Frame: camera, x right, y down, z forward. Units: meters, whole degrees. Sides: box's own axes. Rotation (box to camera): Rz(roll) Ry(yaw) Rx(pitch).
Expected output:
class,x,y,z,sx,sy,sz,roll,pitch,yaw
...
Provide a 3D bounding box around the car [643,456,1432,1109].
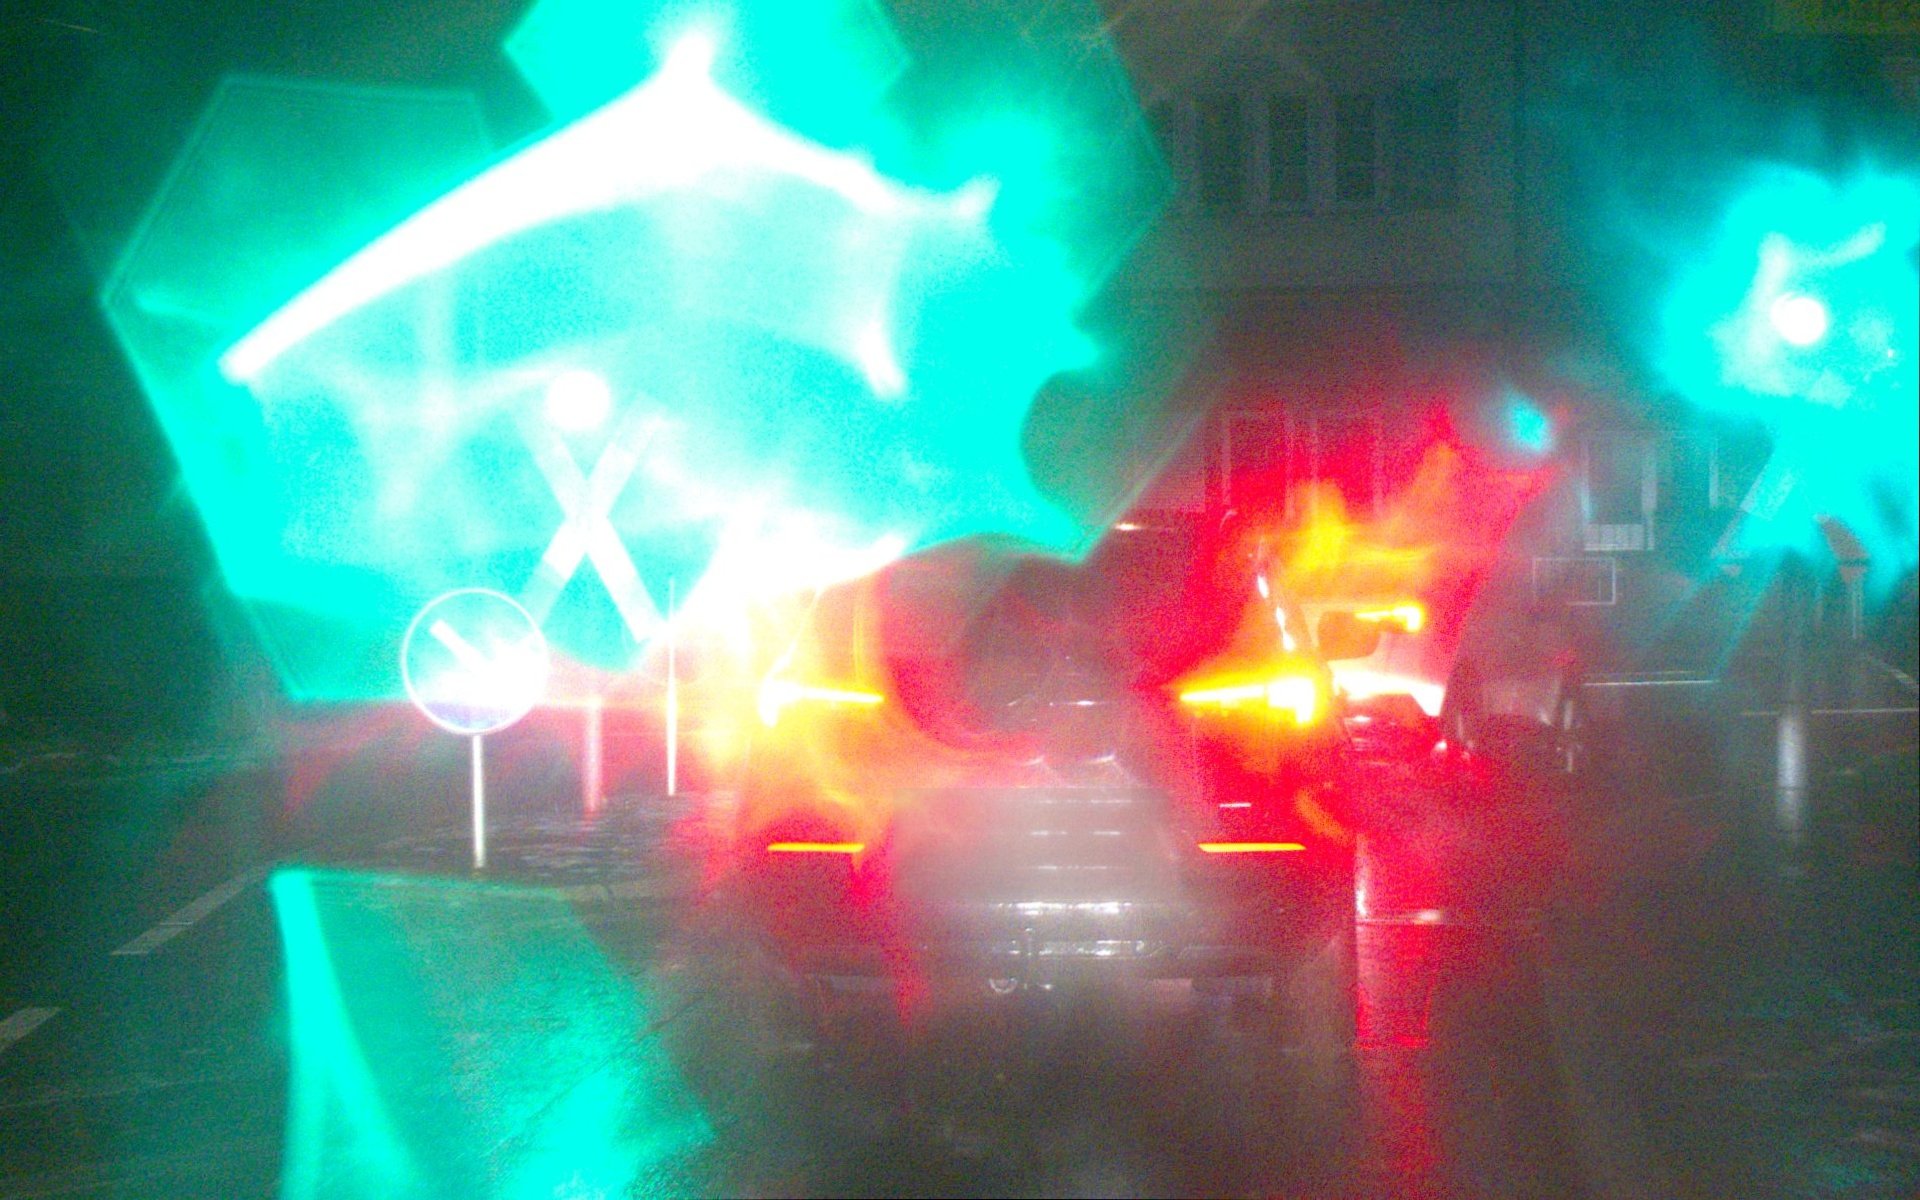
class,x,y,z,sx,sy,sz,roll,pitch,yaw
car,0.352,0.452,11.210,2.058,1.672,4.139,2,1,4

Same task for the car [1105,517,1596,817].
class,x,y,z,sx,sy,sz,roll,pitch,yaw
car,2.446,0.302,20.481,1.911,1.505,4.237,0,3,21
